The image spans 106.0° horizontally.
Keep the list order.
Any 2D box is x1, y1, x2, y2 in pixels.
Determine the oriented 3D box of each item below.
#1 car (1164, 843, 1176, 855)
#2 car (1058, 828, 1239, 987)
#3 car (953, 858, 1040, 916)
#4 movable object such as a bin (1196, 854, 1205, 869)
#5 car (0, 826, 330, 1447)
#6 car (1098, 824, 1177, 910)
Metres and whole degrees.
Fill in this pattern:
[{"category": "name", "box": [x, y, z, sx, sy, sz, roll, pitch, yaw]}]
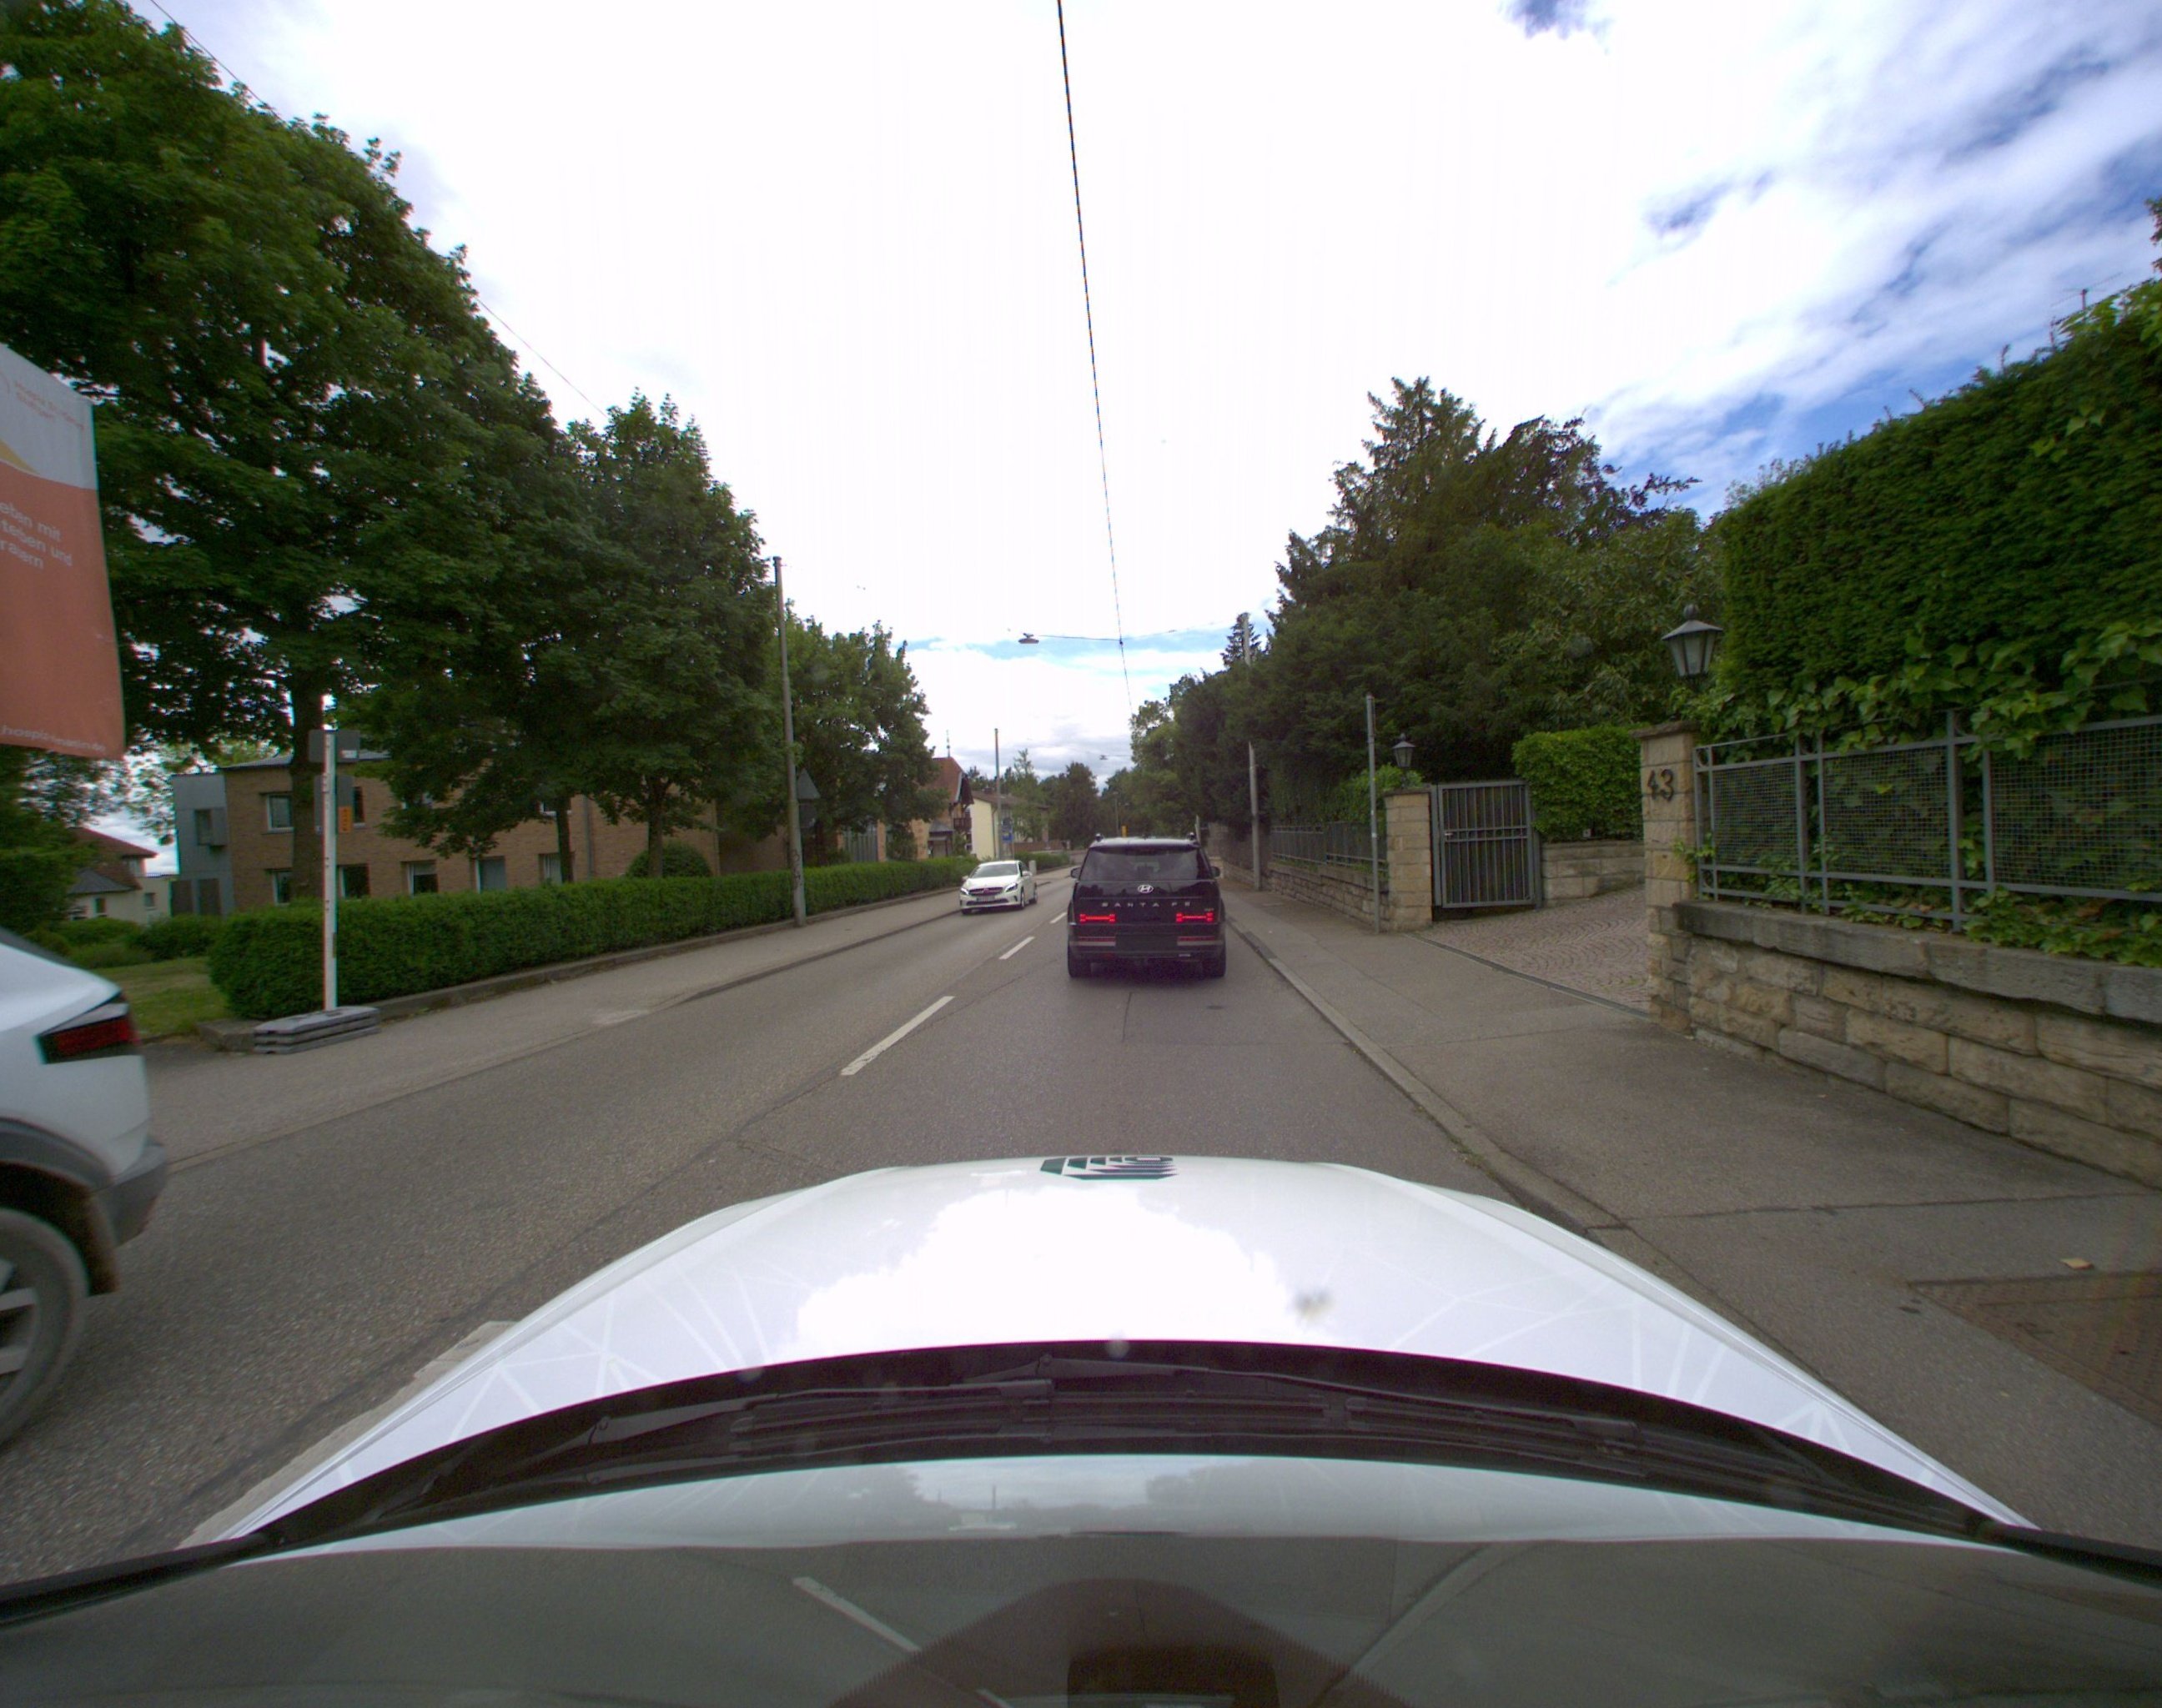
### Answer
[{"category": "car", "box": [13.442, -0.749, 123.249, 1.635, 1.561, 3.657, -3, -2, 8]}, {"category": "car", "box": [0.912, 0.553, 10.927, 1.948, 1.713, 4.229, 0, 1, 5]}, {"category": "car", "box": [-2.418, 0.899, 24.229, 1.758, 1.421, 4.070, -5, 0, 4]}, {"category": "movable object such as a bin", "box": [7.245, 0.438, 49.236, 0.442, 0.910, 0.396, -3, -1, 14]}, {"category": "car", "box": [-3.887, 0.834, 0.907, 1.761, 1.637, 4.307, -6, 0, 4]}, {"category": "car", "box": [1.527, 0.254, 22.490, 1.949, 1.955, 4.228, 1, 4, 3]}]
